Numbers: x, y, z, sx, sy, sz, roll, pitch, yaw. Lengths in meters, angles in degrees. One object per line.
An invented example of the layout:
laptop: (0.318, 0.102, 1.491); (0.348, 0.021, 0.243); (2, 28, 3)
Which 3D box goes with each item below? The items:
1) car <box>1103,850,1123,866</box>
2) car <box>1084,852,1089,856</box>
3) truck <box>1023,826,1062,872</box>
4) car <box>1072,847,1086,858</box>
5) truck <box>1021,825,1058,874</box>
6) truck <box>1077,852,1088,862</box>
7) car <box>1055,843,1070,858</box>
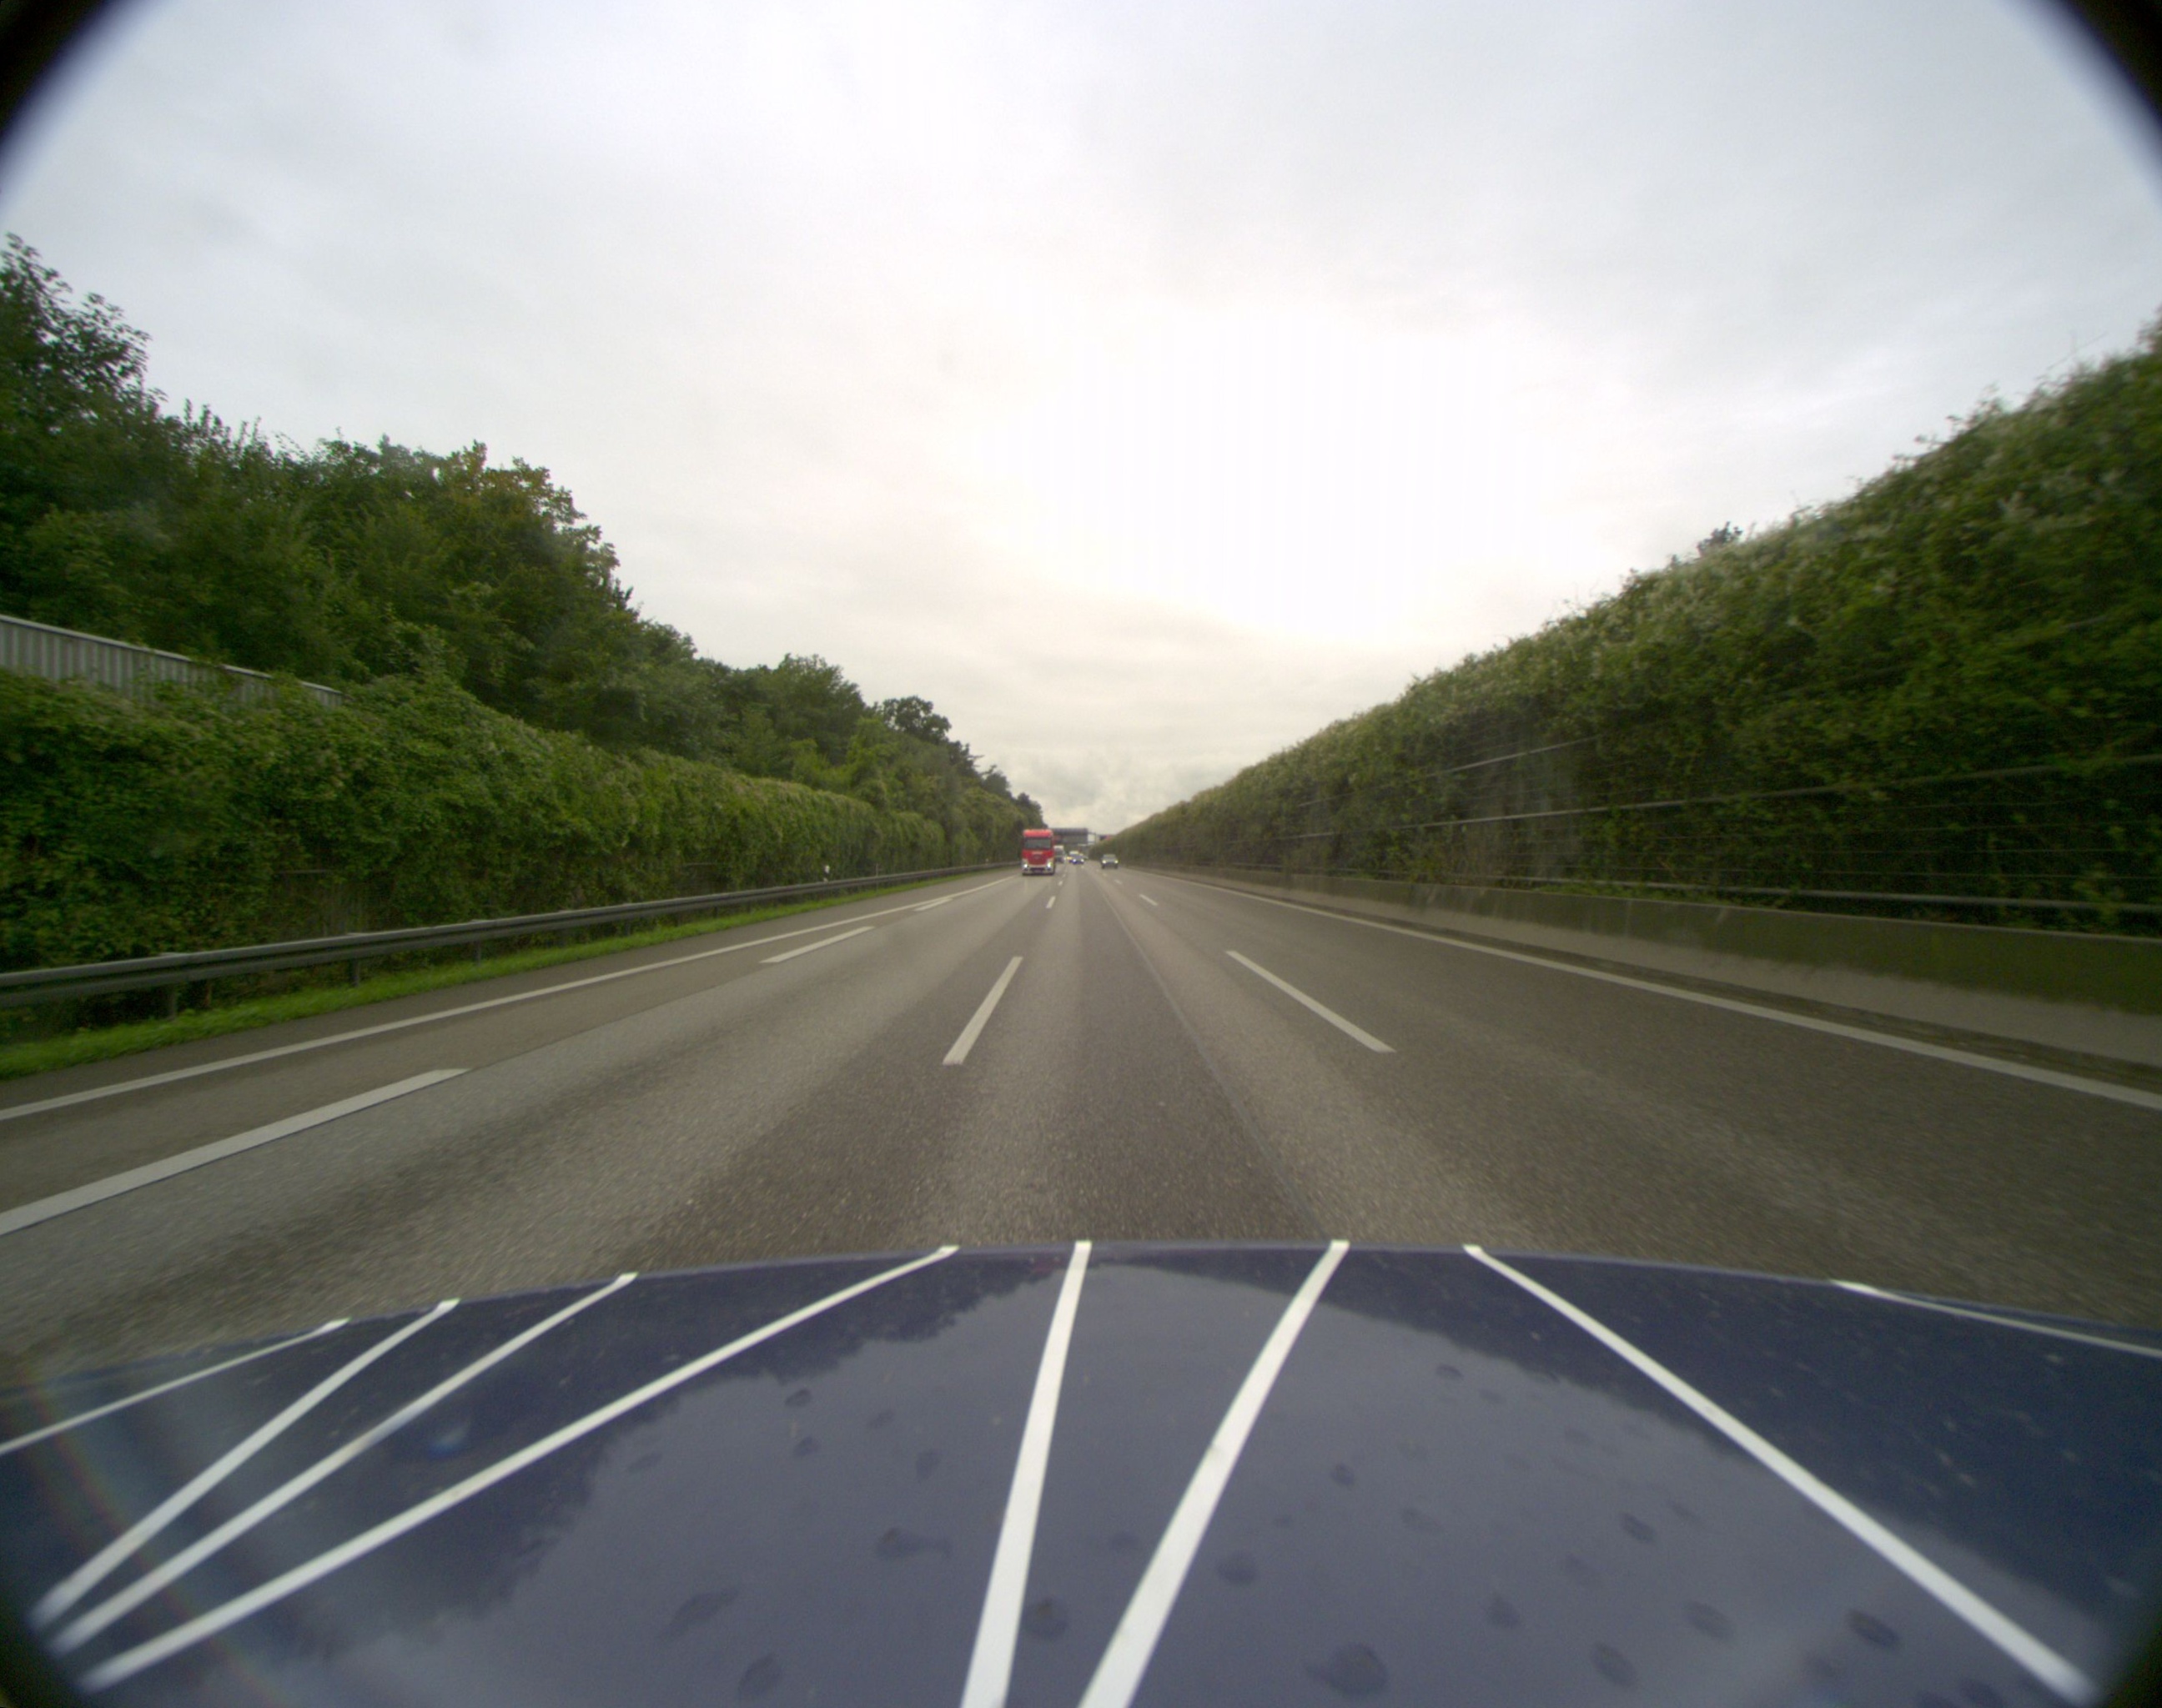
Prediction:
car: (3.763, 0.453, 89.952); (2.023, 1.595, 5.438); (-3, 1, -1)
car: (1.770, -0.080, 247.532); (1.751, 1.368, 3.999); (-1, 0, -1)
truck: (-3.265, -0.565, 67.101); (2.709, 3.690, 9.839); (-1, 2, 1)
car: (-0.442, -0.324, 160.501); (2.769, 2.227, 6.545); (-1, 1, 0)
truck: (-3.330, -0.394, 62.292); (2.709, 3.809, 4.197); (-1, 2, 0)
truck: (0.196, 0.553, 135.573); (1.825, 1.535, 3.998); (-2, 2, -1)
car: (-4.081, -0.758, 165.154); (3.039, 3.278, 6.732); (-1, 1, 0)
